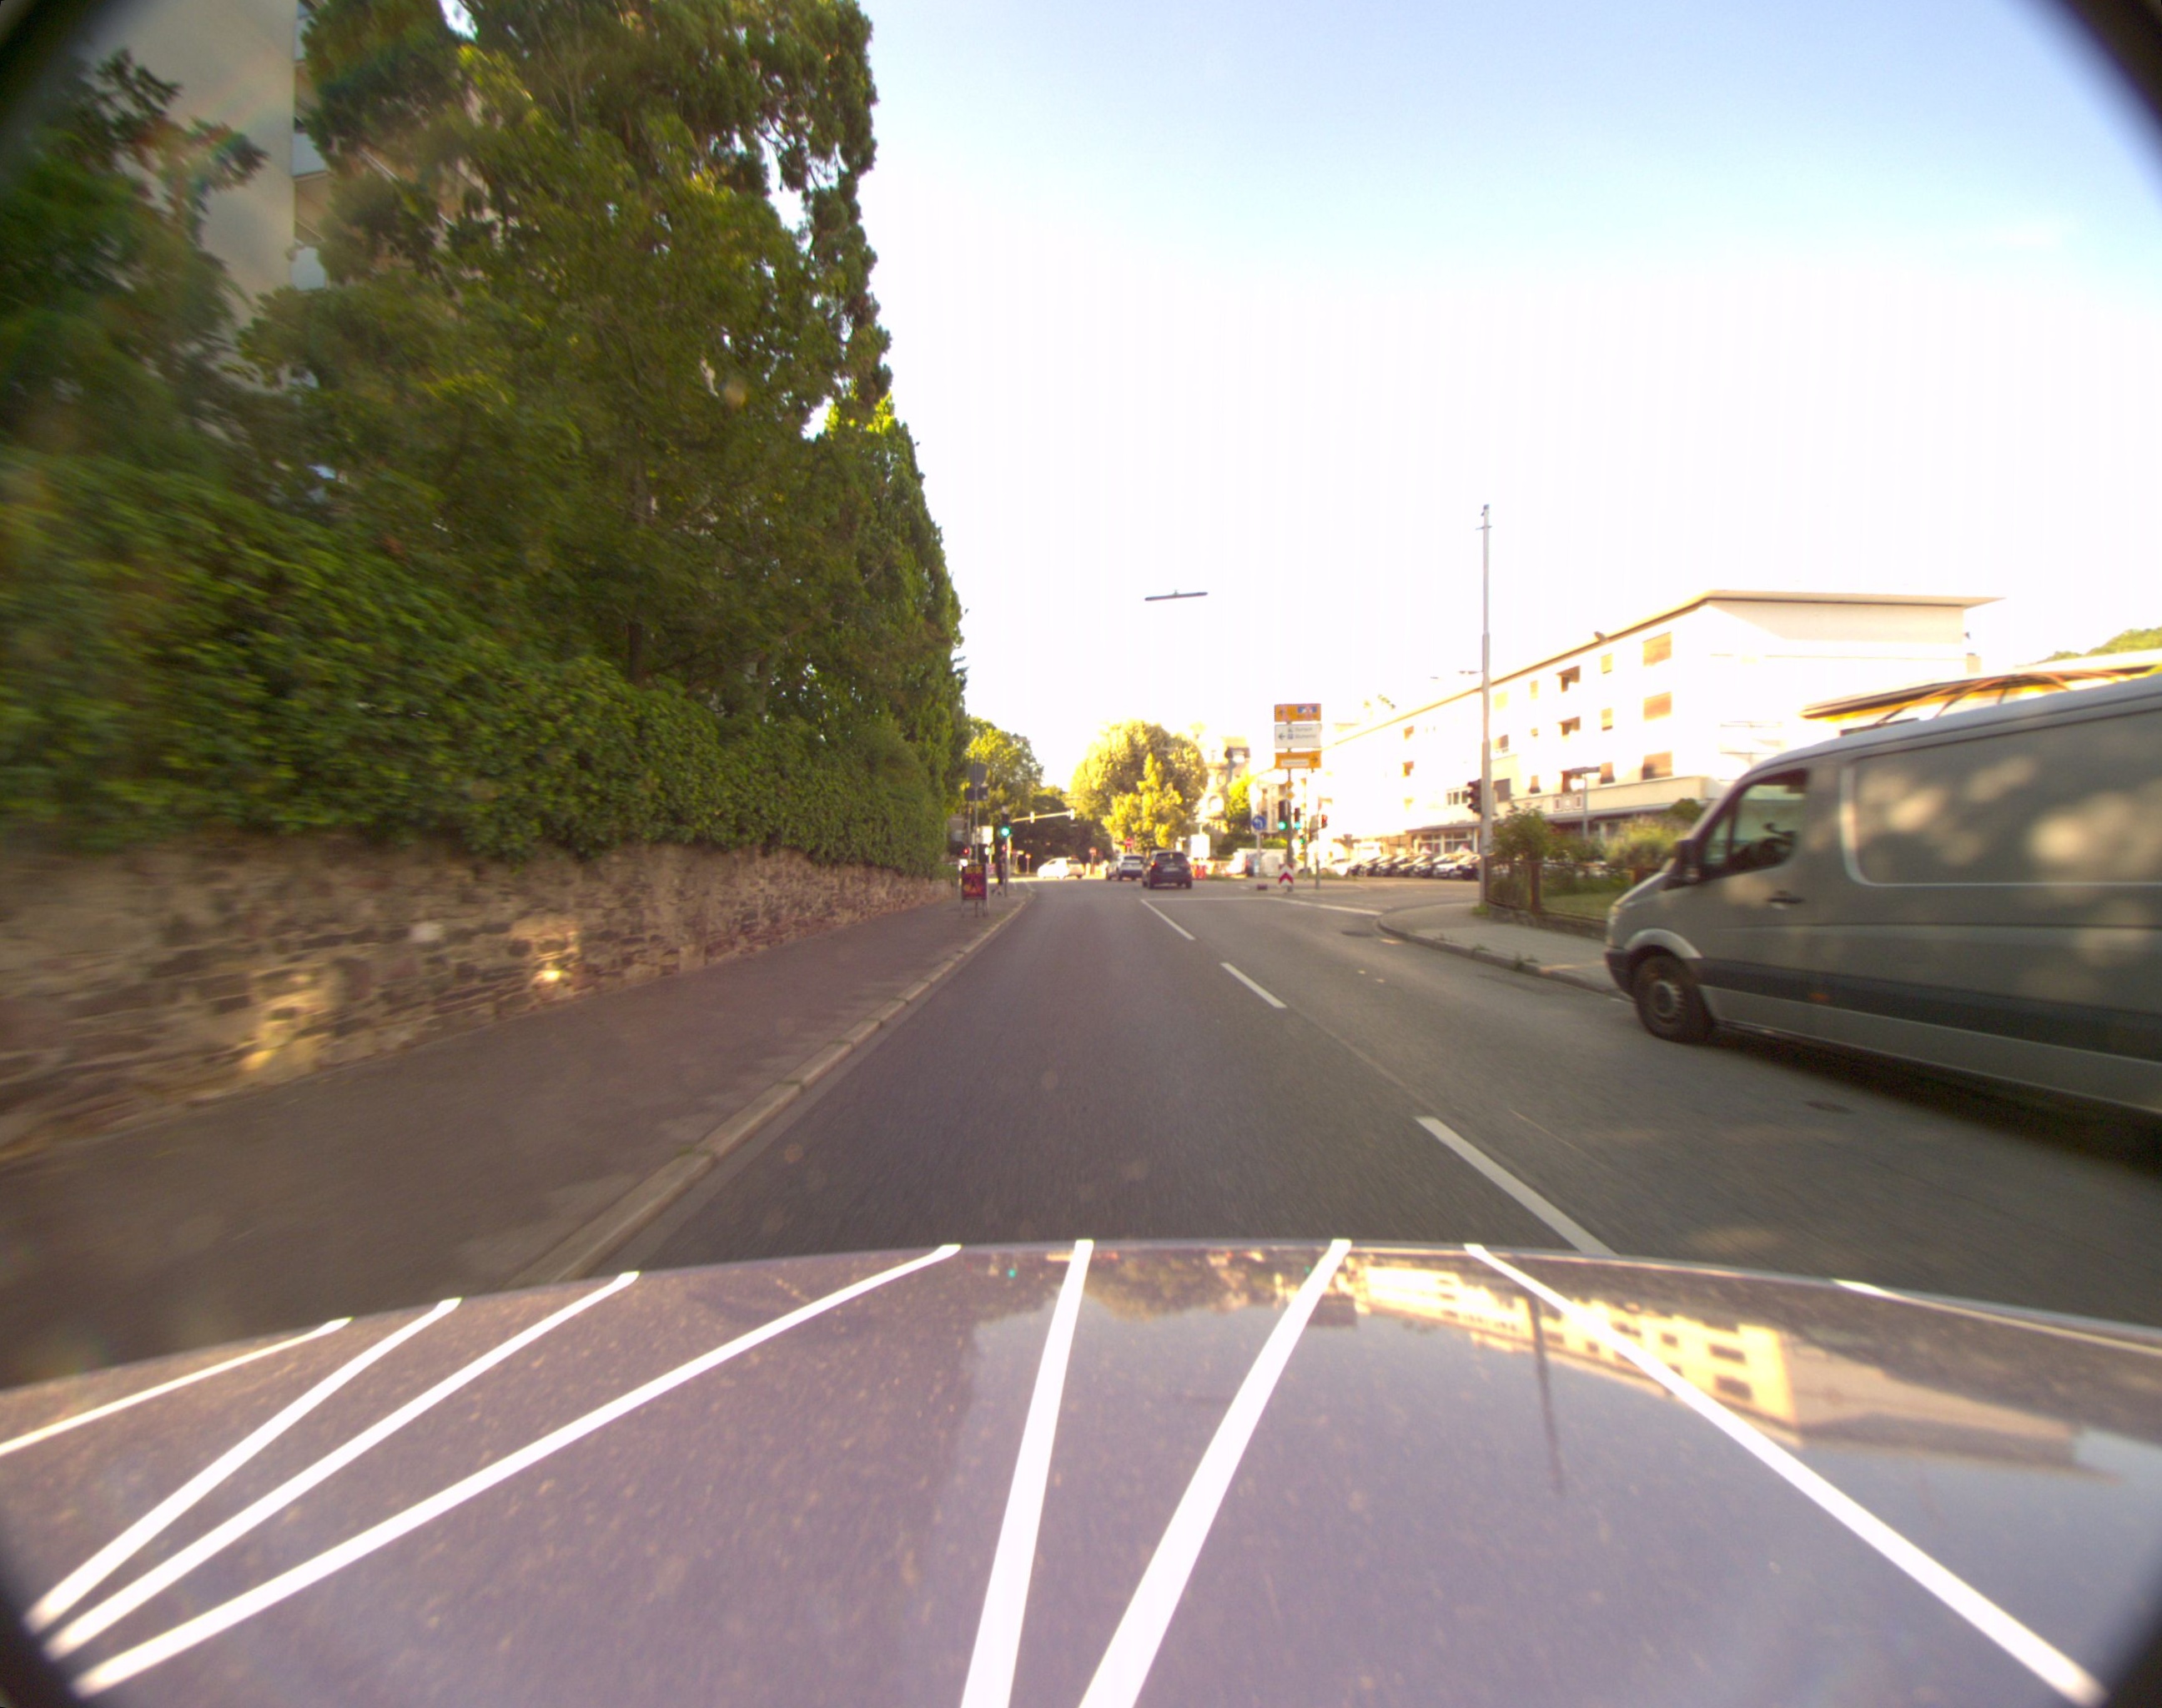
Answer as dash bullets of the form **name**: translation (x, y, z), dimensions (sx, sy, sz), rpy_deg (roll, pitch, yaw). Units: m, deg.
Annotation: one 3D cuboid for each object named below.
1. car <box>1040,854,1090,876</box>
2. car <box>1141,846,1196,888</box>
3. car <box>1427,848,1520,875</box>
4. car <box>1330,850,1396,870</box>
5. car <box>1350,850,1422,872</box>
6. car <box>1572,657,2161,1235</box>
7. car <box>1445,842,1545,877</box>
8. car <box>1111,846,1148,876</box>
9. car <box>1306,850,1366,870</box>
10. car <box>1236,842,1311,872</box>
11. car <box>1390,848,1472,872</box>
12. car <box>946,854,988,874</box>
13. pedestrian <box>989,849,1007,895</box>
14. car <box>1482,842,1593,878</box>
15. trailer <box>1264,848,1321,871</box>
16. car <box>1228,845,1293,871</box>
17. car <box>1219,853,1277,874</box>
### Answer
- **car**: translation (-1.204, 0.810, 54.979), dimensions (1.784, 1.471, 4.087), rpy_deg (-2, -1, -31)
- **car**: translation (3.771, 0.557, 33.318), dimensions (1.958, 1.639, 4.284), rpy_deg (-2, -1, 1)
- **car**: translation (22.440, 0.444, 43.597), dimensions (4.321, 1.390, 2.002), rpy_deg (-2, -1, 11)
- **car**: translation (21.845, 0.450, 59.026), dimensions (4.324, 1.390, 2.000), rpy_deg (-2, -1, -1)
- **car**: translation (21.749, 0.481, 54.312), dimensions (4.324, 1.390, 2.000), rpy_deg (-2, -1, -1)
- **car**: translation (5.613, 0.364, 4.115), dimensions (2.073, 2.446, 6.014), rpy_deg (-2, 0, 1)
- **car**: translation (22.274, 0.289, 41.027), dimensions (4.321, 1.704, 2.002), rpy_deg (-2, -1, 11)
- **car**: translation (2.829, 0.430, 45.385), dimensions (1.780, 1.639, 4.534), rpy_deg (-2, -1, -1)
- **car**: translation (21.184, 0.529, 63.274), dimensions (4.324, 1.501, 2.000), rpy_deg (-2, -1, -1)
- **car**: translation (13.655, 0.249, 54.165), dimensions (4.681, 1.953, 2.117), rpy_deg (-2, 0, -5)
- **car**: translation (22.505, 0.410, 48.933), dimensions (4.324, 1.390, 2.000), rpy_deg (-2, -1, -1)
- **car**: translation (-9.664, 0.876, 64.201), dimensions (1.784, 1.533, 3.990), rpy_deg (-2, -1, -36)
- **pedestrian**: translation (-3.104, 0.670, 28.551), dimensions (0.604, 1.683, 0.612), rpy_deg (0, 0, 0)
- **car**: translation (22.955, 0.302, 38.367), dimensions (4.321, 1.601, 2.002), rpy_deg (-2, -1, 11)
- **trailer**: translation (14.115, 0.375, 50.732), dimensions (3.263, 1.388, 1.574), rpy_deg (-2, 0, -5)
- **car**: translation (13.440, 0.307, 57.098), dimensions (4.324, 1.841, 2.000), rpy_deg (-2, 0, 0)
- **car**: translation (13.082, 0.756, 59.678), dimensions (4.002, 1.470, 1.999), rpy_deg (-3, 0, -4)
